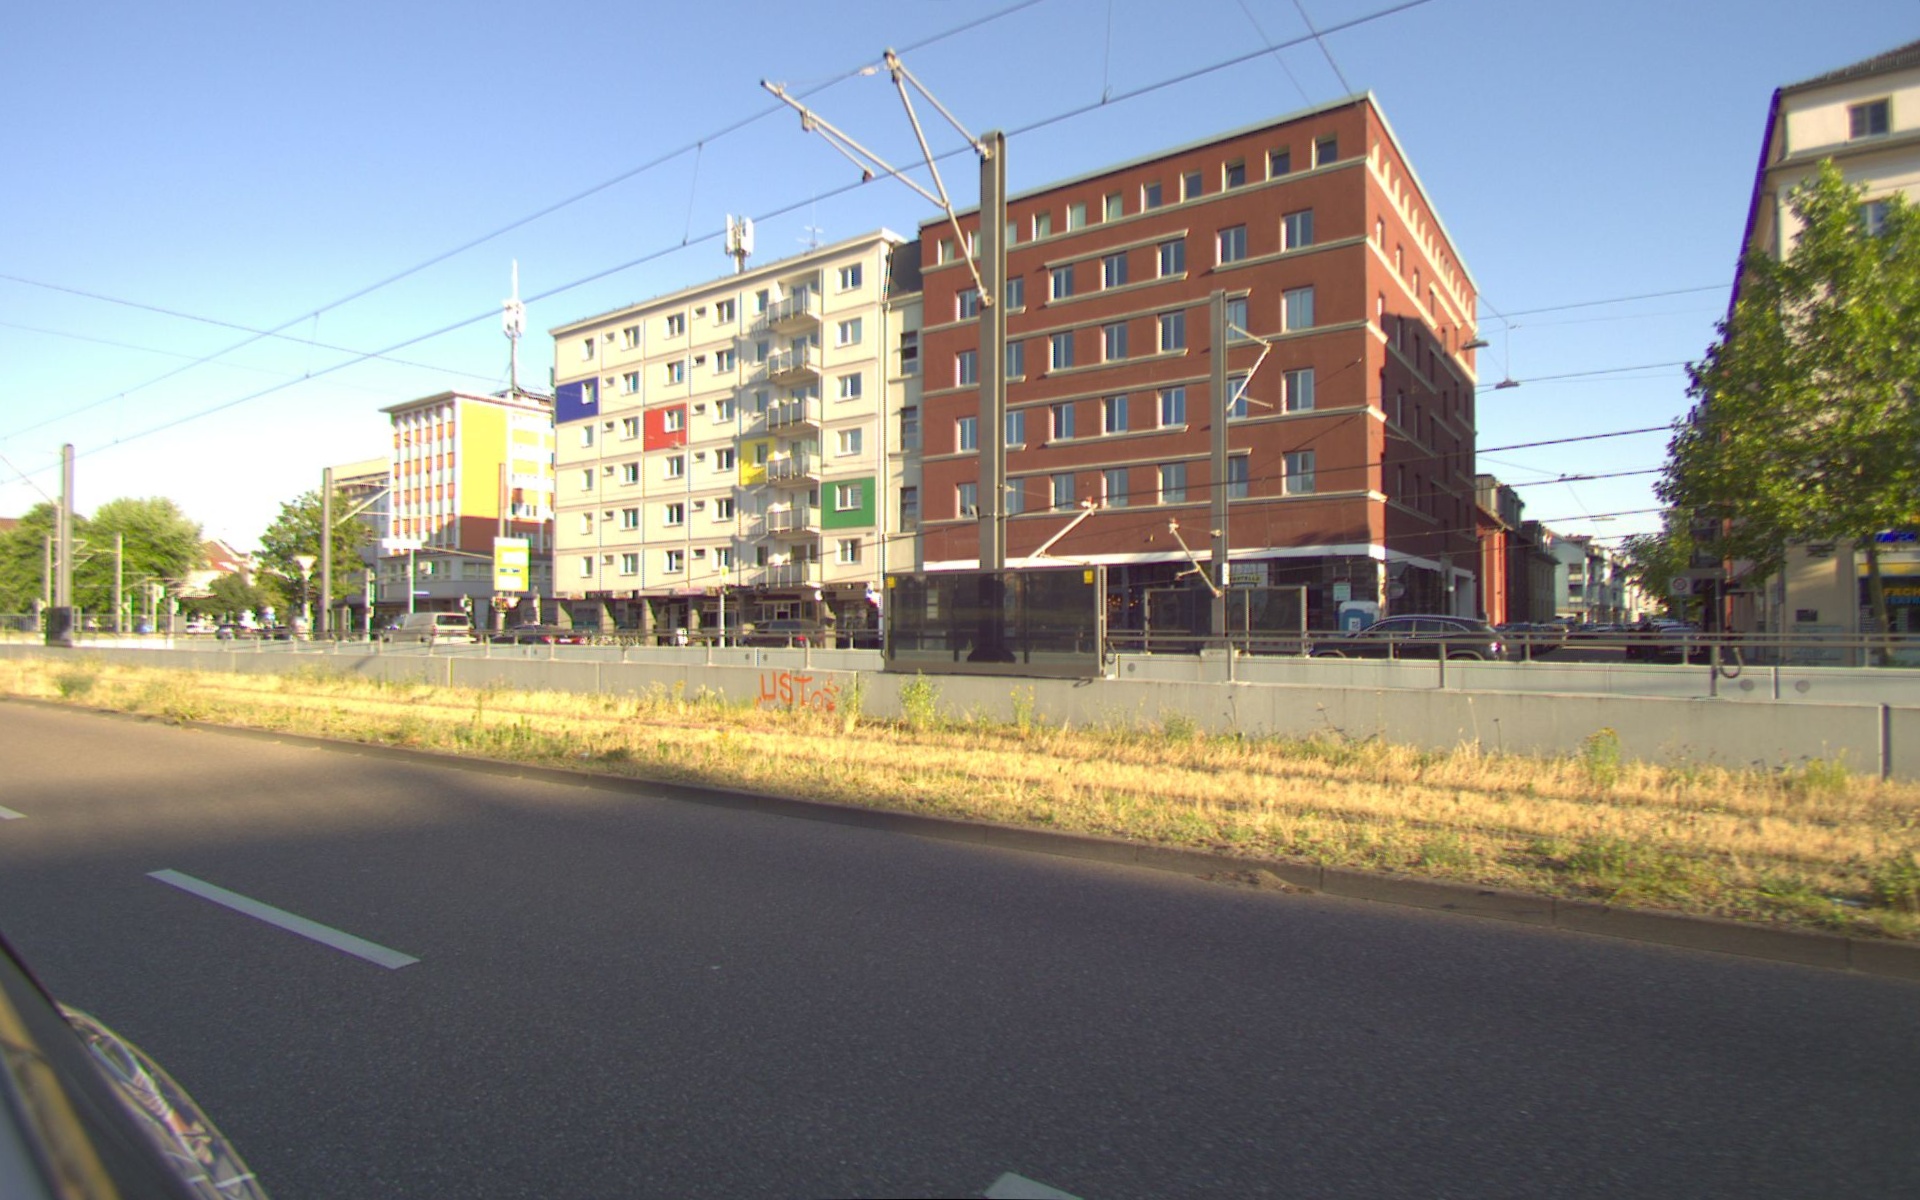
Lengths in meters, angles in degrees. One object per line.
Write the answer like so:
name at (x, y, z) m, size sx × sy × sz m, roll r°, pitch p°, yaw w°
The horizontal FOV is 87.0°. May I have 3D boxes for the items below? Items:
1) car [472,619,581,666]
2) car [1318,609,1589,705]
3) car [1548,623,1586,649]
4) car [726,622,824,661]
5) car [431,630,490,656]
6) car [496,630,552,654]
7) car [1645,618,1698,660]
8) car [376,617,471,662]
car at (-17.962, 1.727, 41.857) m, size 4.886 × 1.811 × 1.975 m, roll -2°, pitch -2°, yaw 37°
car at (10.548, 1.173, 21.837) m, size 4.971 × 1.833 × 1.975 m, roll -2°, pitch -2°, yaw 38°
car at (35.490, 2.097, 59.138) m, size 1.529 × 1.439 × 3.828 m, roll -2°, pitch -1°, yaw 36°
car at (-8.968, 1.995, 48.858) m, size 4.733 × 1.811 × 1.975 m, roll -2°, pitch -2°, yaw 37°
car at (-25.876, 2.200, 52.417) m, size 3.177 × 1.297 × 1.217 m, roll -1°, pitch -2°, yaw 30°
car at (-36.300, 3.465, 84.260) m, size 1.738 × 1.794 × 3.953 m, roll -1°, pitch 1°, yaw 35°
car at (27.914, 1.514, 39.661) m, size 1.547 × 1.559 × 3.490 m, roll -2°, pitch -2°, yaw 37°
car at (-25.082, 1.820, 47.283) m, size 4.763 × 2.029 × 1.977 m, roll -1°, pitch -1°, yaw 35°
